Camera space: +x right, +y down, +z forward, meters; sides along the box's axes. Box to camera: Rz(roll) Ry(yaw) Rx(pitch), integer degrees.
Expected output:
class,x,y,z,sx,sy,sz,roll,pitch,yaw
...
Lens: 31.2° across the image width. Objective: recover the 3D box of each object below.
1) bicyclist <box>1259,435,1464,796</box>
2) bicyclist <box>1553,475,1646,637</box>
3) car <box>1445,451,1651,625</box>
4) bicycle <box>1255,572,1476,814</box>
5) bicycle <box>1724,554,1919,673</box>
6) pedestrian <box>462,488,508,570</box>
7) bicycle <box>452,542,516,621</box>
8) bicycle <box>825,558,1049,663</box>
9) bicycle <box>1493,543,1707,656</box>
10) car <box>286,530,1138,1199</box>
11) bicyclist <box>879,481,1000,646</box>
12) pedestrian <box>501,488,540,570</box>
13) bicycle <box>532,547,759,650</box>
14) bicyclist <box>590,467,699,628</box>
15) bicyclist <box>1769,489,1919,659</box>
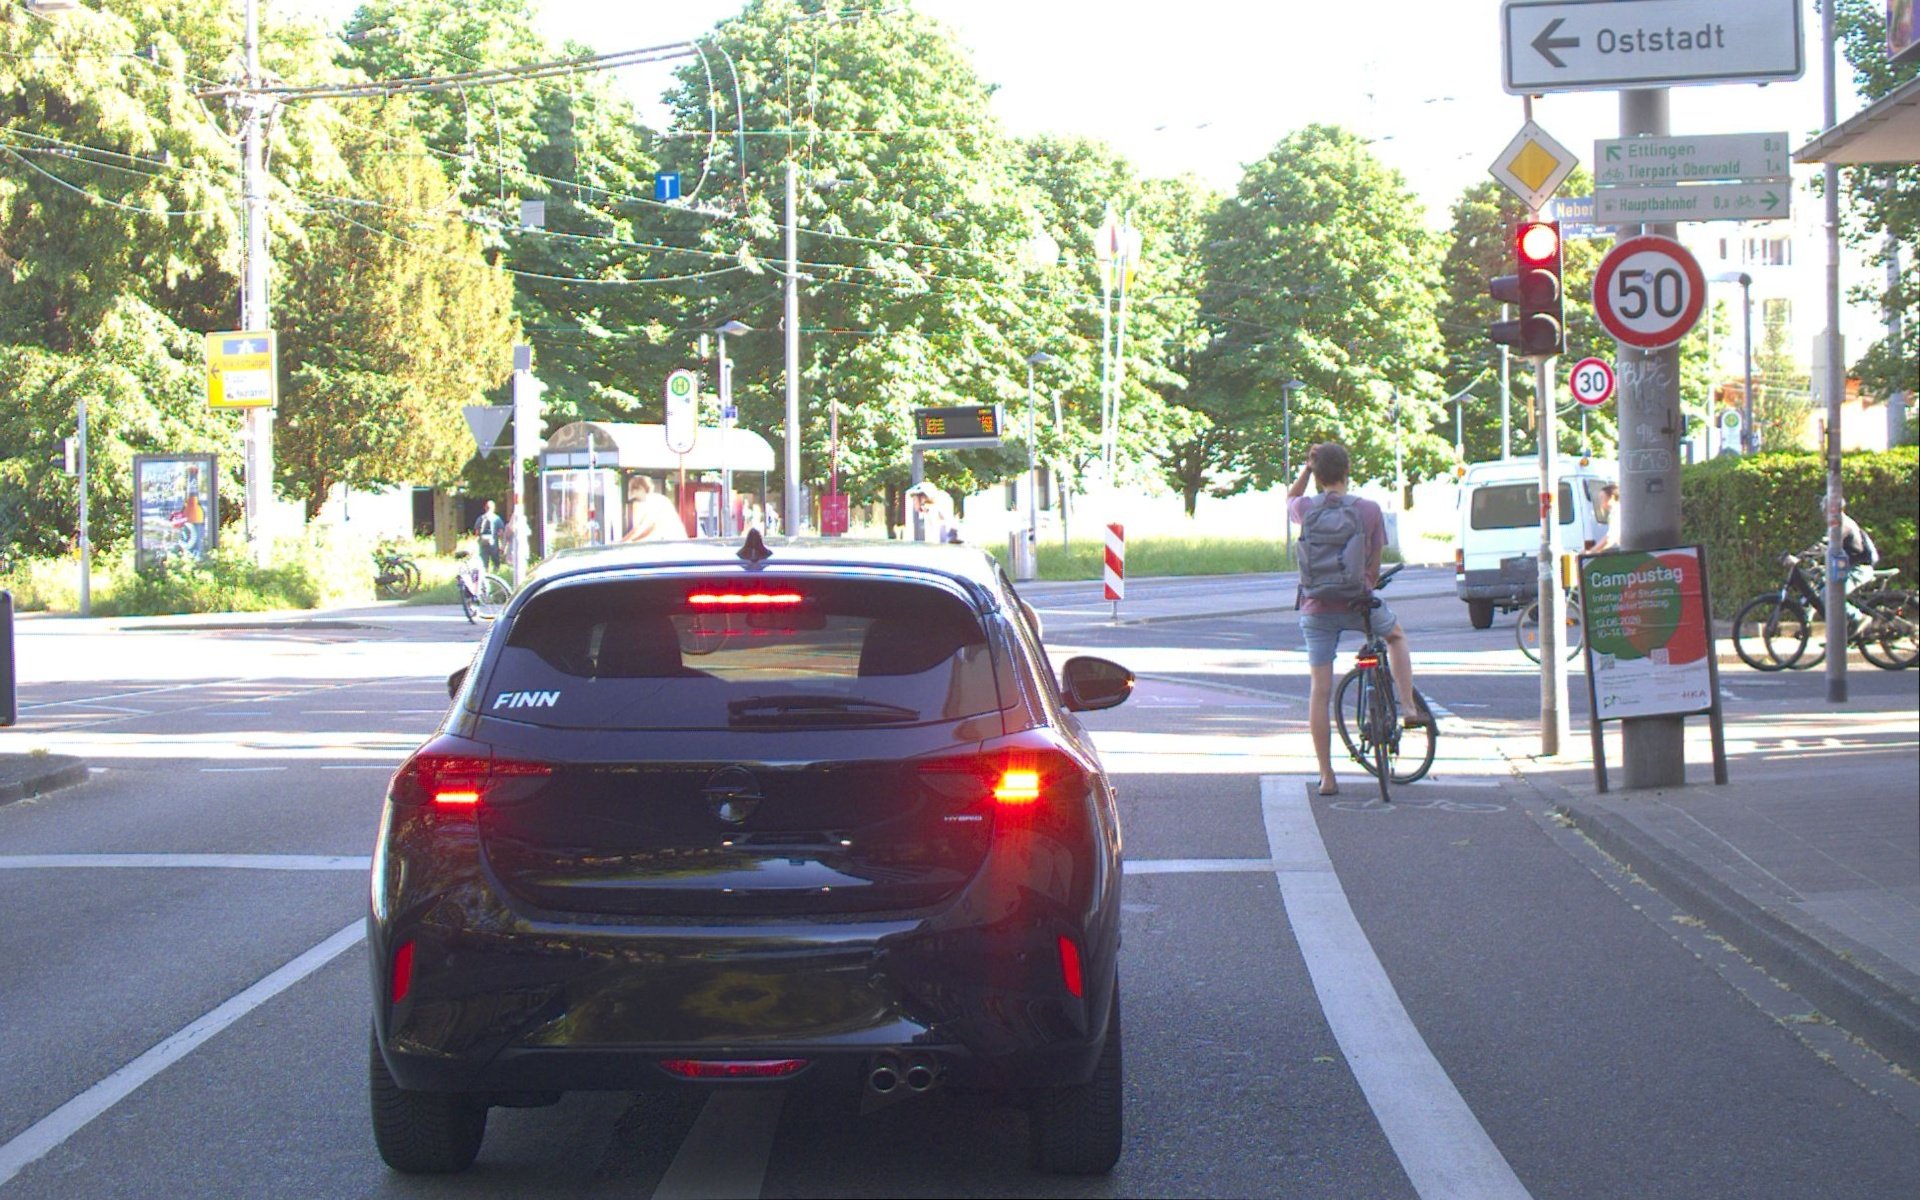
class,x,y,z,sx,sy,sz,roll,pitch,yaw
bicyclist,2.101,0.069,18.105,0.941,1.844,0.864,-1,1,-1
bicyclist,6.342,-0.439,34.074,0.861,1.589,0.649,0,1,13
car,8.053,-0.862,46.756,2.065,2.241,4.883,0,2,18
bicycle,2.108,0.453,18.150,0.860,1.149,2.172,-1,1,-1
bicycle,8.207,0.109,31.543,2.190,1.029,0.835,-1,1,-13
pedestrian,-9.490,-1.421,68.680,0.751,1.624,0.597,1,1,7
bicycle,-6.471,-0.265,46.800,0.605,1.027,1.982,-1,1,-1
bicycle,-0.220,0.101,33.149,2.059,0.980,0.672,0,1,11
bicycle,6.346,-0.004,34.088,2.056,1.090,0.592,0,1,13
car,-0.517,0.535,9.085,1.727,1.424,4.187,0,1,0
bicyclist,-0.194,-0.355,33.151,1.010,1.565,0.799,0,1,11
pedestrian,-8.767,-1.415,68.591,0.636,1.624,0.572,1,1,7
bicycle,-3.388,-0.016,37.110,2.294,1.080,0.800,0,1,12
bicyclist,-3.397,-0.570,37.090,0.927,1.701,0.875,0,1,12
bicyclist,8.146,-0.248,31.519,1.112,1.515,0.922,-1,1,-13
